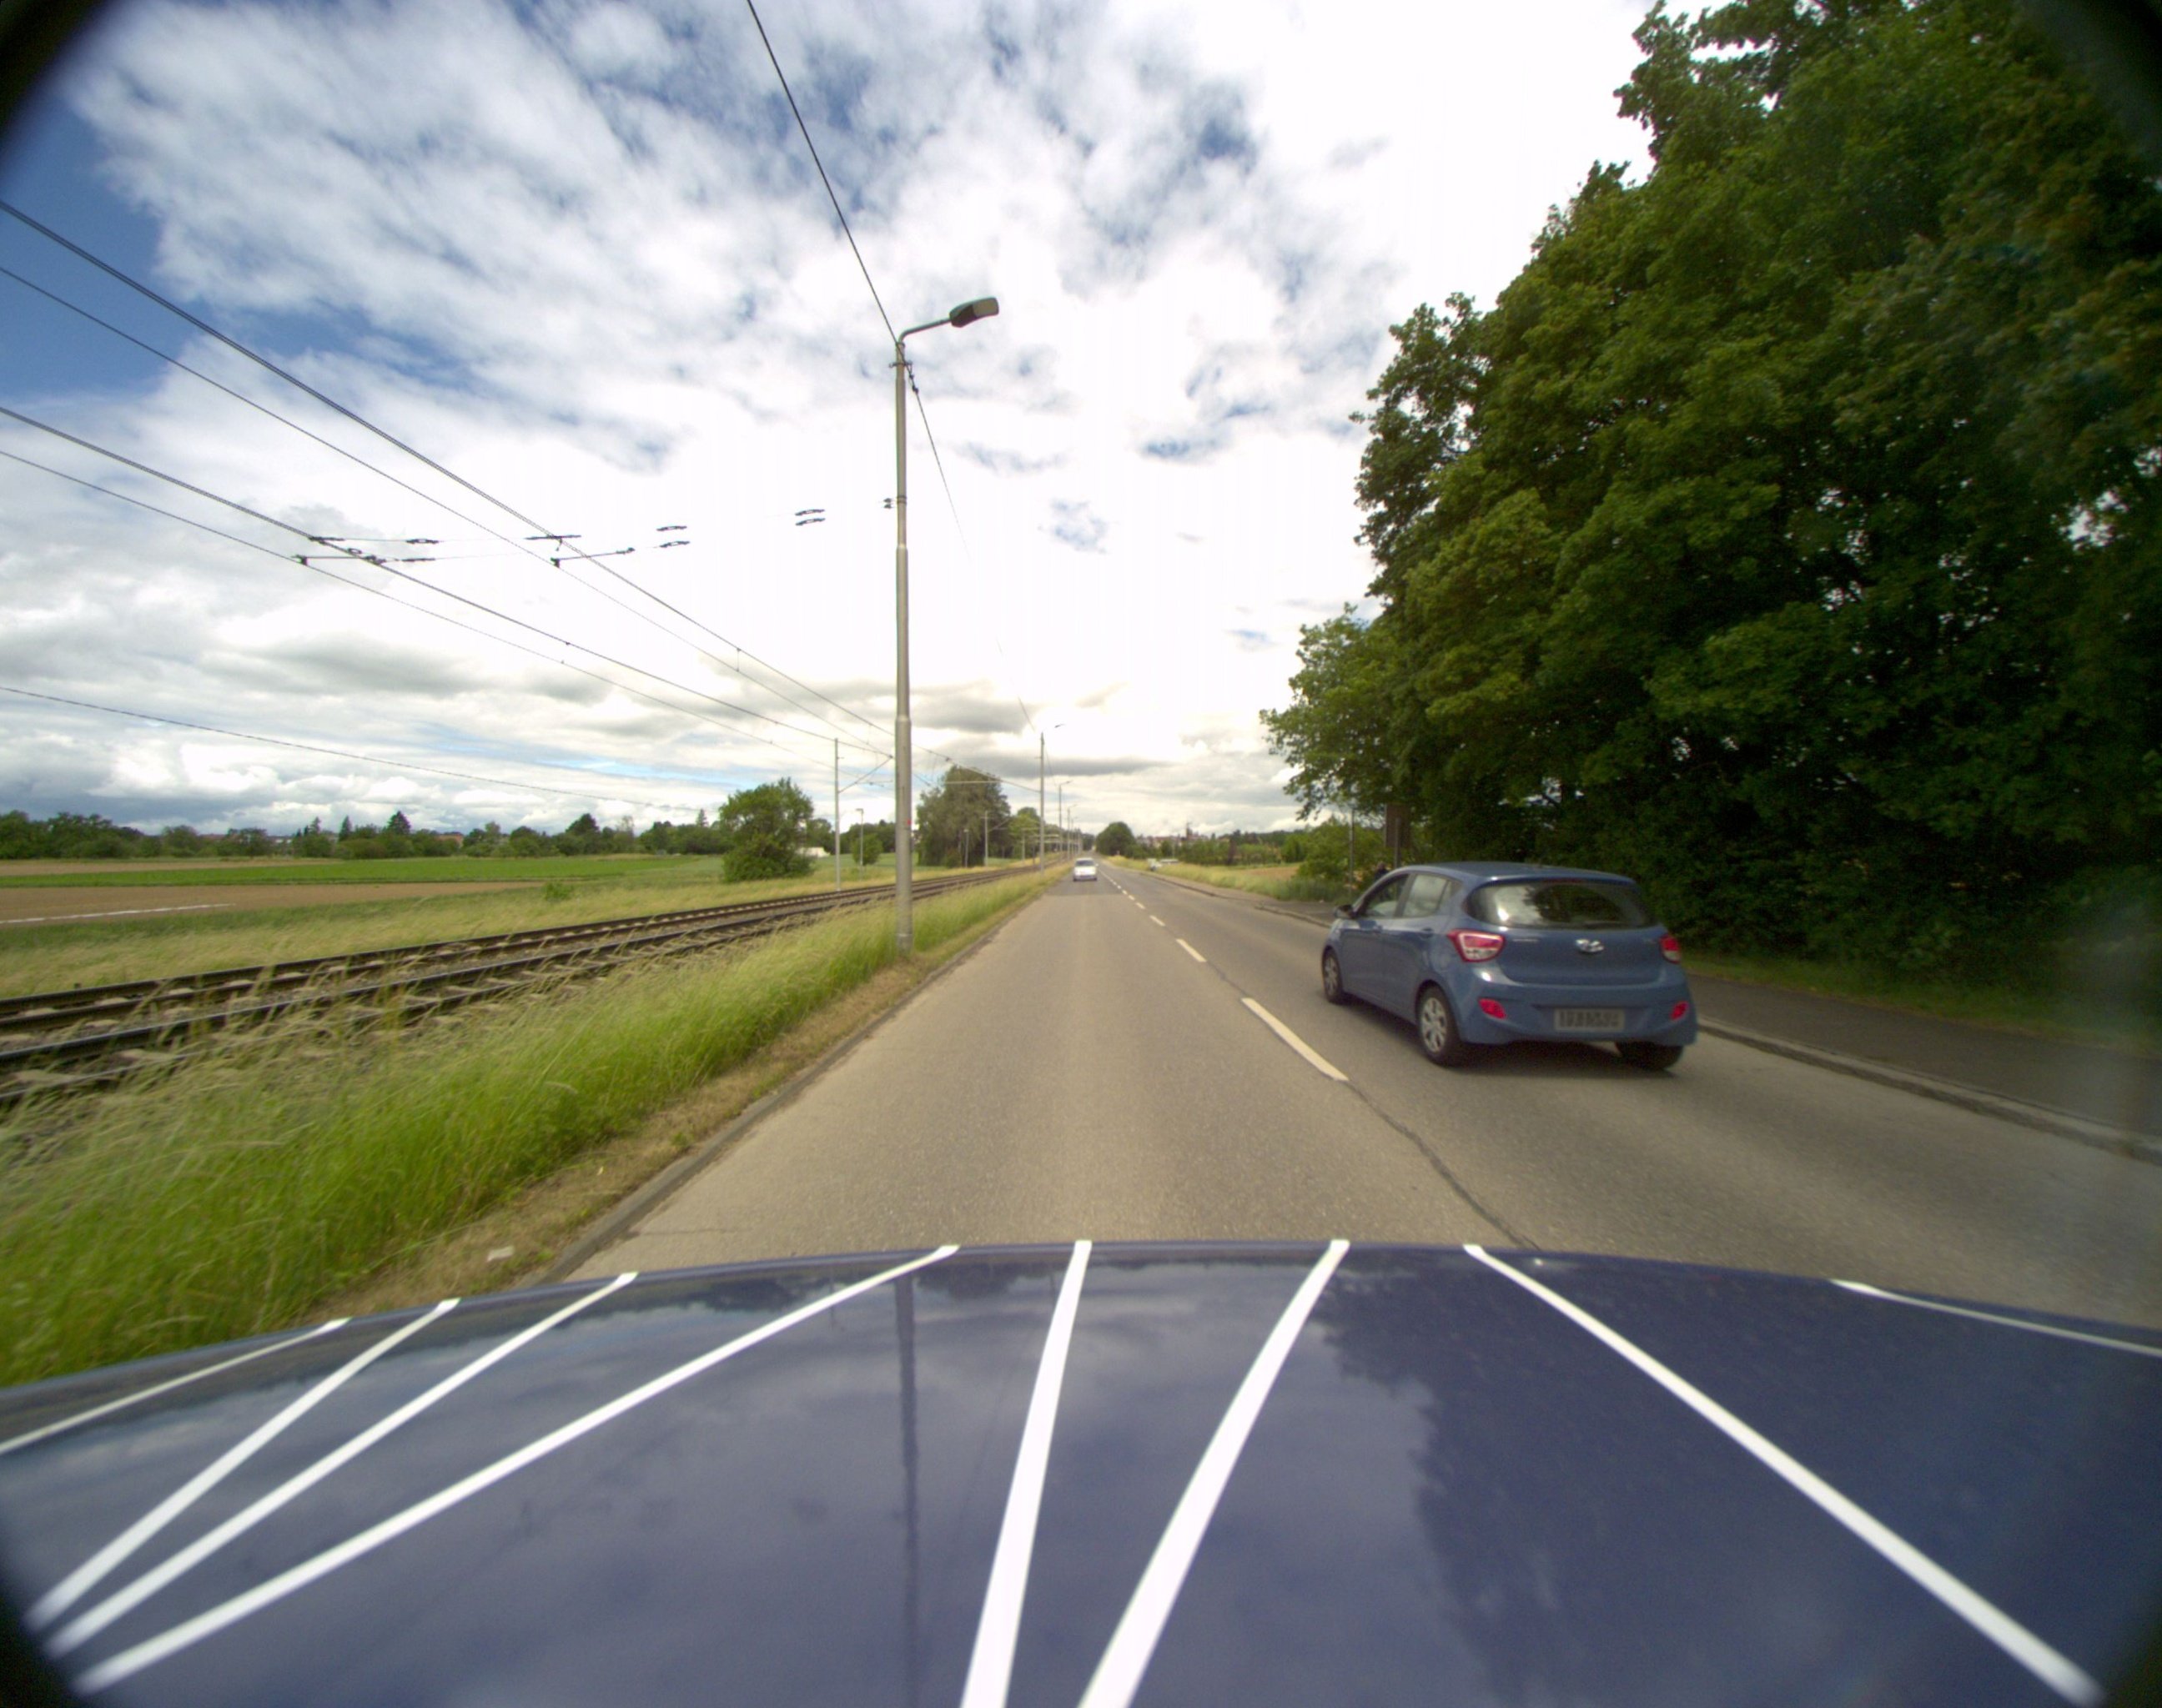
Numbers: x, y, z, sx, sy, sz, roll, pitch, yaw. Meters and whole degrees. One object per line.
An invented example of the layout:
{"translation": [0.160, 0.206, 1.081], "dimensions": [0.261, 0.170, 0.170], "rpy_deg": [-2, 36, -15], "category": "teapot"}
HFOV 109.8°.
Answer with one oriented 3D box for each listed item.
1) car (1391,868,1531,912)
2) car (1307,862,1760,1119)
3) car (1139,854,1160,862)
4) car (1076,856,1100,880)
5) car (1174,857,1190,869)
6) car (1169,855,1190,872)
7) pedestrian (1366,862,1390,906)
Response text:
{"translation": [13.200, 1.235, 26.578], "dimensions": [3.994, 1.304, 1.745], "rpy_deg": [2, 1, 8], "category": "car"}
{"translation": [3.401, 0.880, 6.681], "dimensions": [1.711, 1.519, 3.824], "rpy_deg": [1, 0, 1], "category": "car"}
{"translation": [11.466, 0.679, 127.559], "dimensions": [3.216, 1.244, 1.455], "rpy_deg": [-2, 1, 29], "category": "car"}
{"translation": [0.512, 0.983, 54.789], "dimensions": [1.643, 1.510, 3.869], "rpy_deg": [-2, 1, 1], "category": "car"}
{"translation": [11.661, 1.047, 87.738], "dimensions": [1.451, 1.244, 3.599], "rpy_deg": [-2, 1, 1], "category": "car"}
{"translation": [9.262, 0.847, 71.760], "dimensions": [1.472, 1.439, 3.869], "rpy_deg": [-2, 1, 1], "category": "car"}
{"translation": [10.895, 1.101, 27.908], "dimensions": [0.706, 1.584, 0.707], "rpy_deg": [-1, -1, 11], "category": "pedestrian"}
